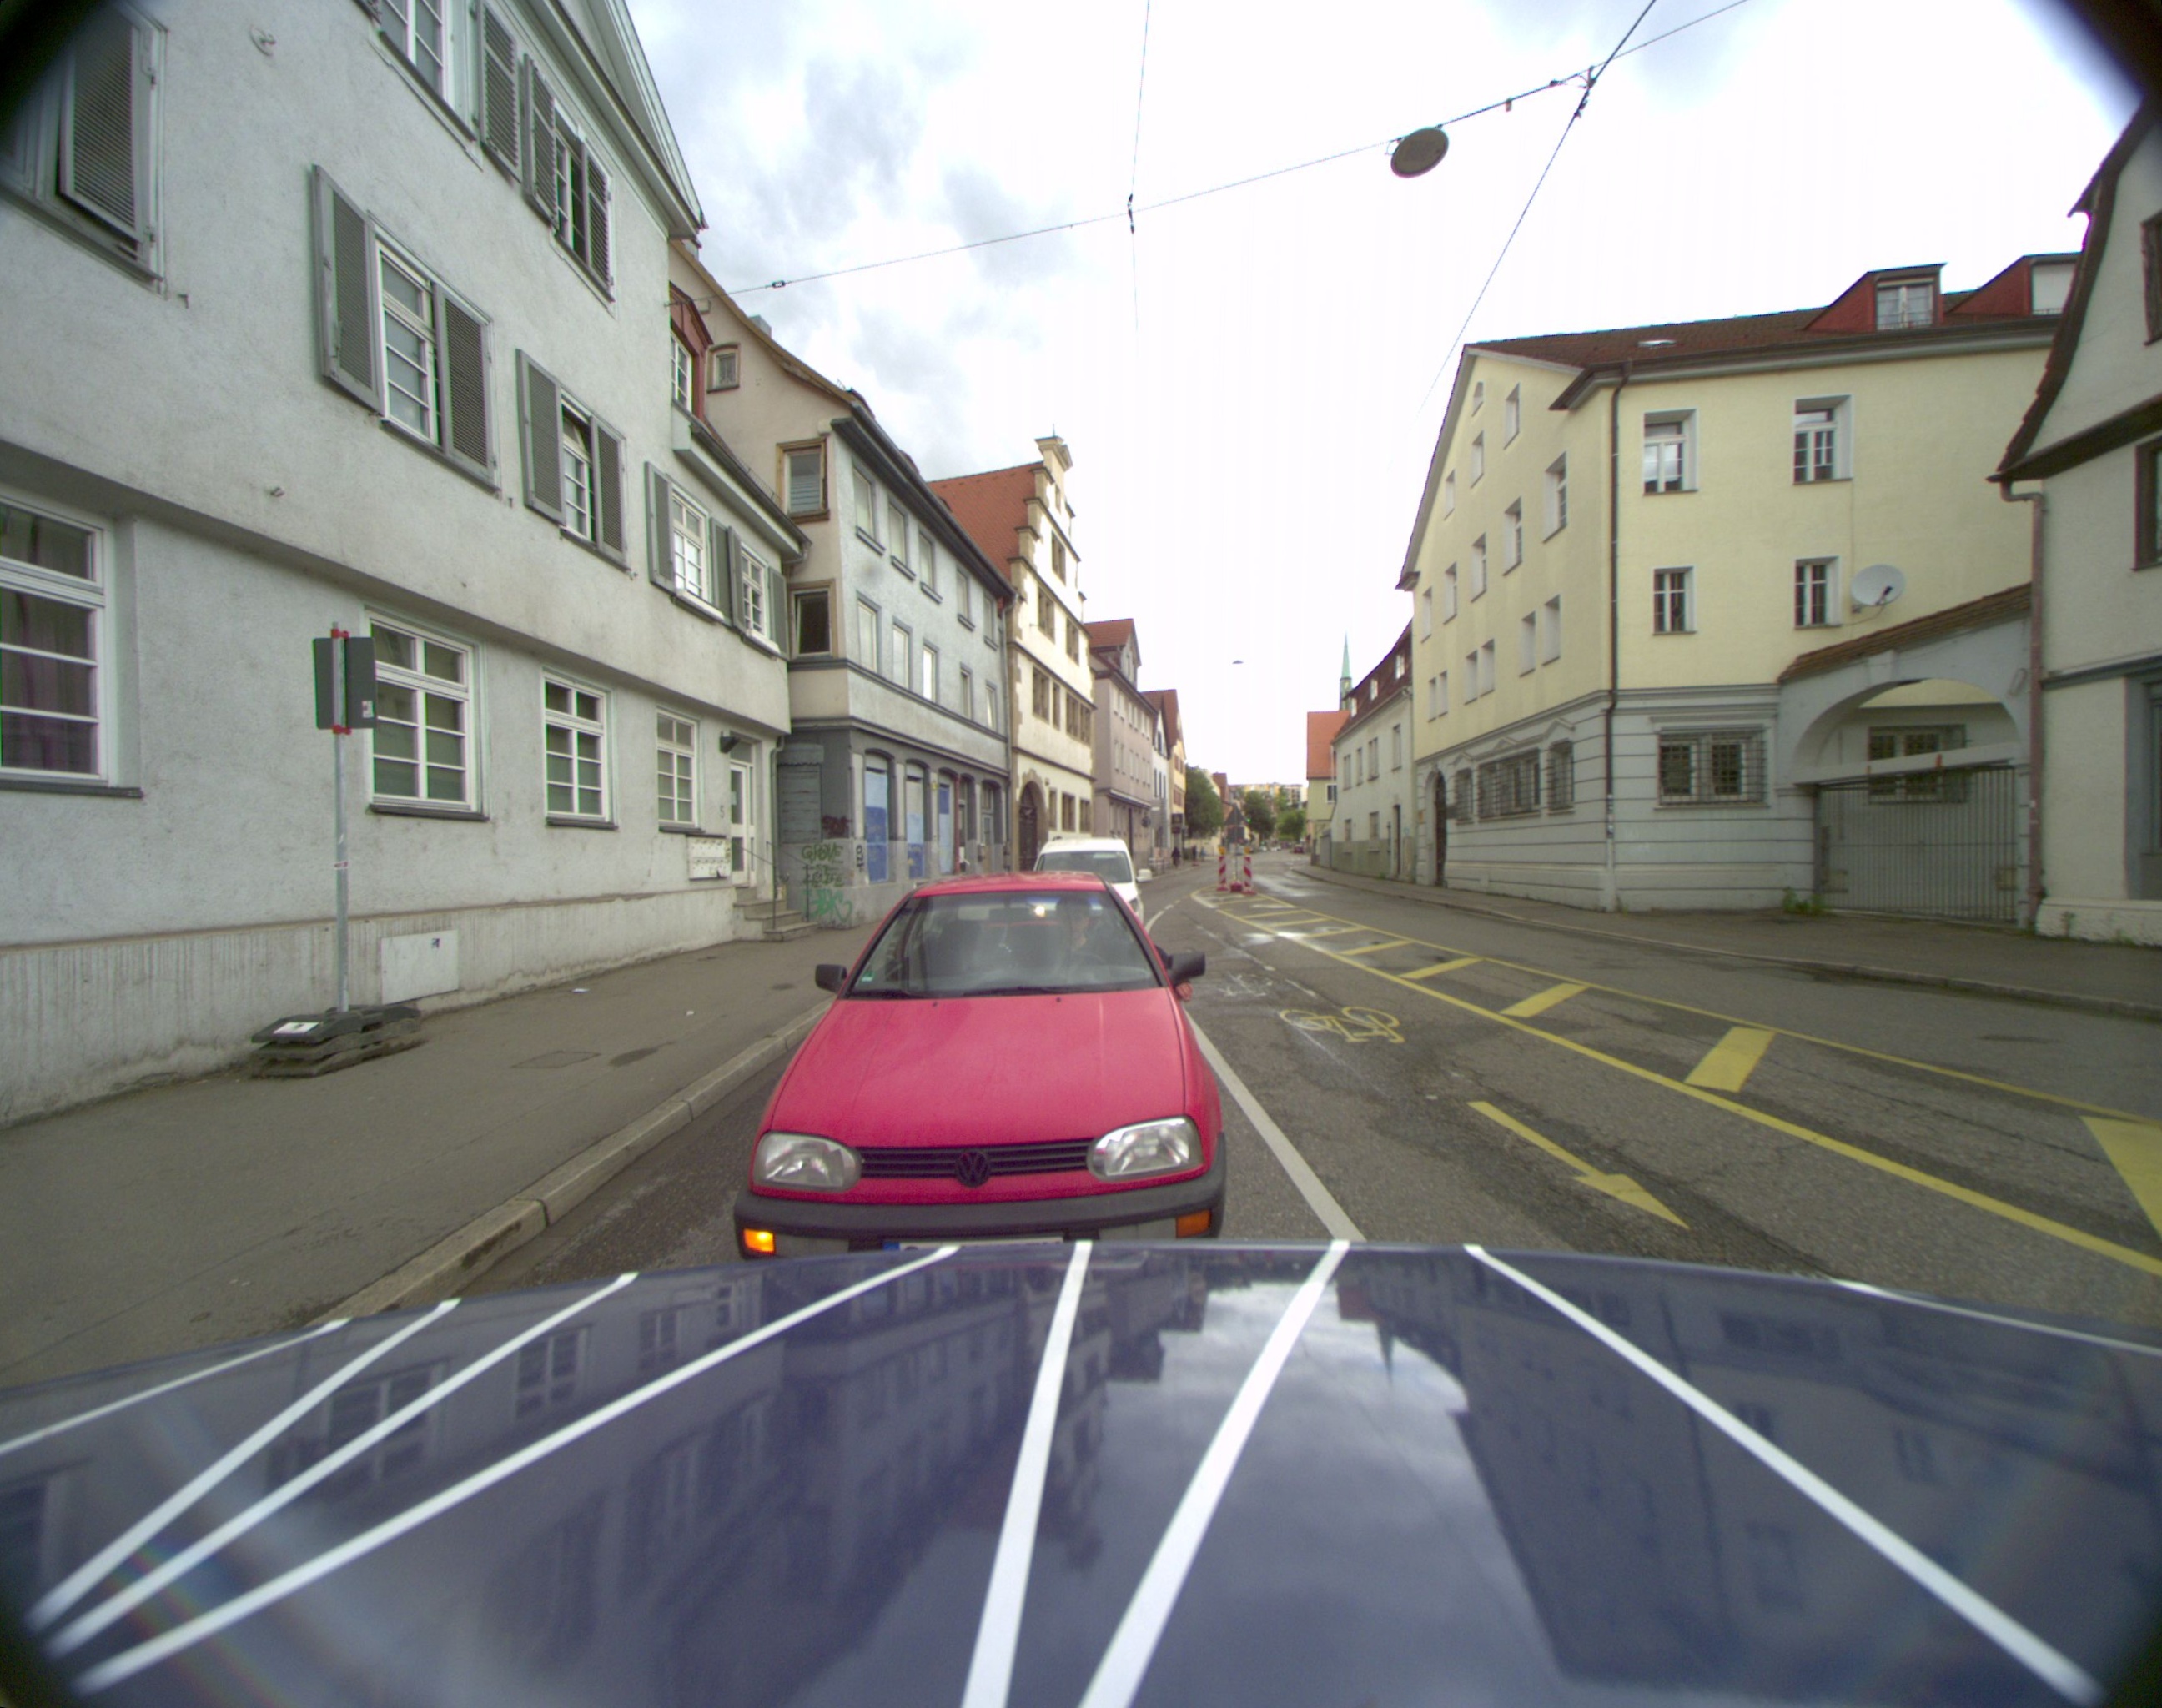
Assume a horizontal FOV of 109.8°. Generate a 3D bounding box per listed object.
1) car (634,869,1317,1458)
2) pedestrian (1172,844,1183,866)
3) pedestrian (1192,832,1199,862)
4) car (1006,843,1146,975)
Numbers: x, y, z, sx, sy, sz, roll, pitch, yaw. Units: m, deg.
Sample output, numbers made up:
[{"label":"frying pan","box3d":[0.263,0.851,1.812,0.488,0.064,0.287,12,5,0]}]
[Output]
[{"label":"car","box3d":[-0.298,0.874,4.048,1.793,1.417,3.999,-2,1,-1]},{"label":"pedestrian","box3d":[7.112,0.055,56.150,0.725,1.604,0.649,-1,0,12]},{"label":"pedestrian","box3d":[9.561,-0.598,63.623,0.495,2.513,0.746,-1,1,12]},{"label":"car","box3d":[0.023,0.703,12.156,1.814,1.695,4.256,-1,1,2]}]
